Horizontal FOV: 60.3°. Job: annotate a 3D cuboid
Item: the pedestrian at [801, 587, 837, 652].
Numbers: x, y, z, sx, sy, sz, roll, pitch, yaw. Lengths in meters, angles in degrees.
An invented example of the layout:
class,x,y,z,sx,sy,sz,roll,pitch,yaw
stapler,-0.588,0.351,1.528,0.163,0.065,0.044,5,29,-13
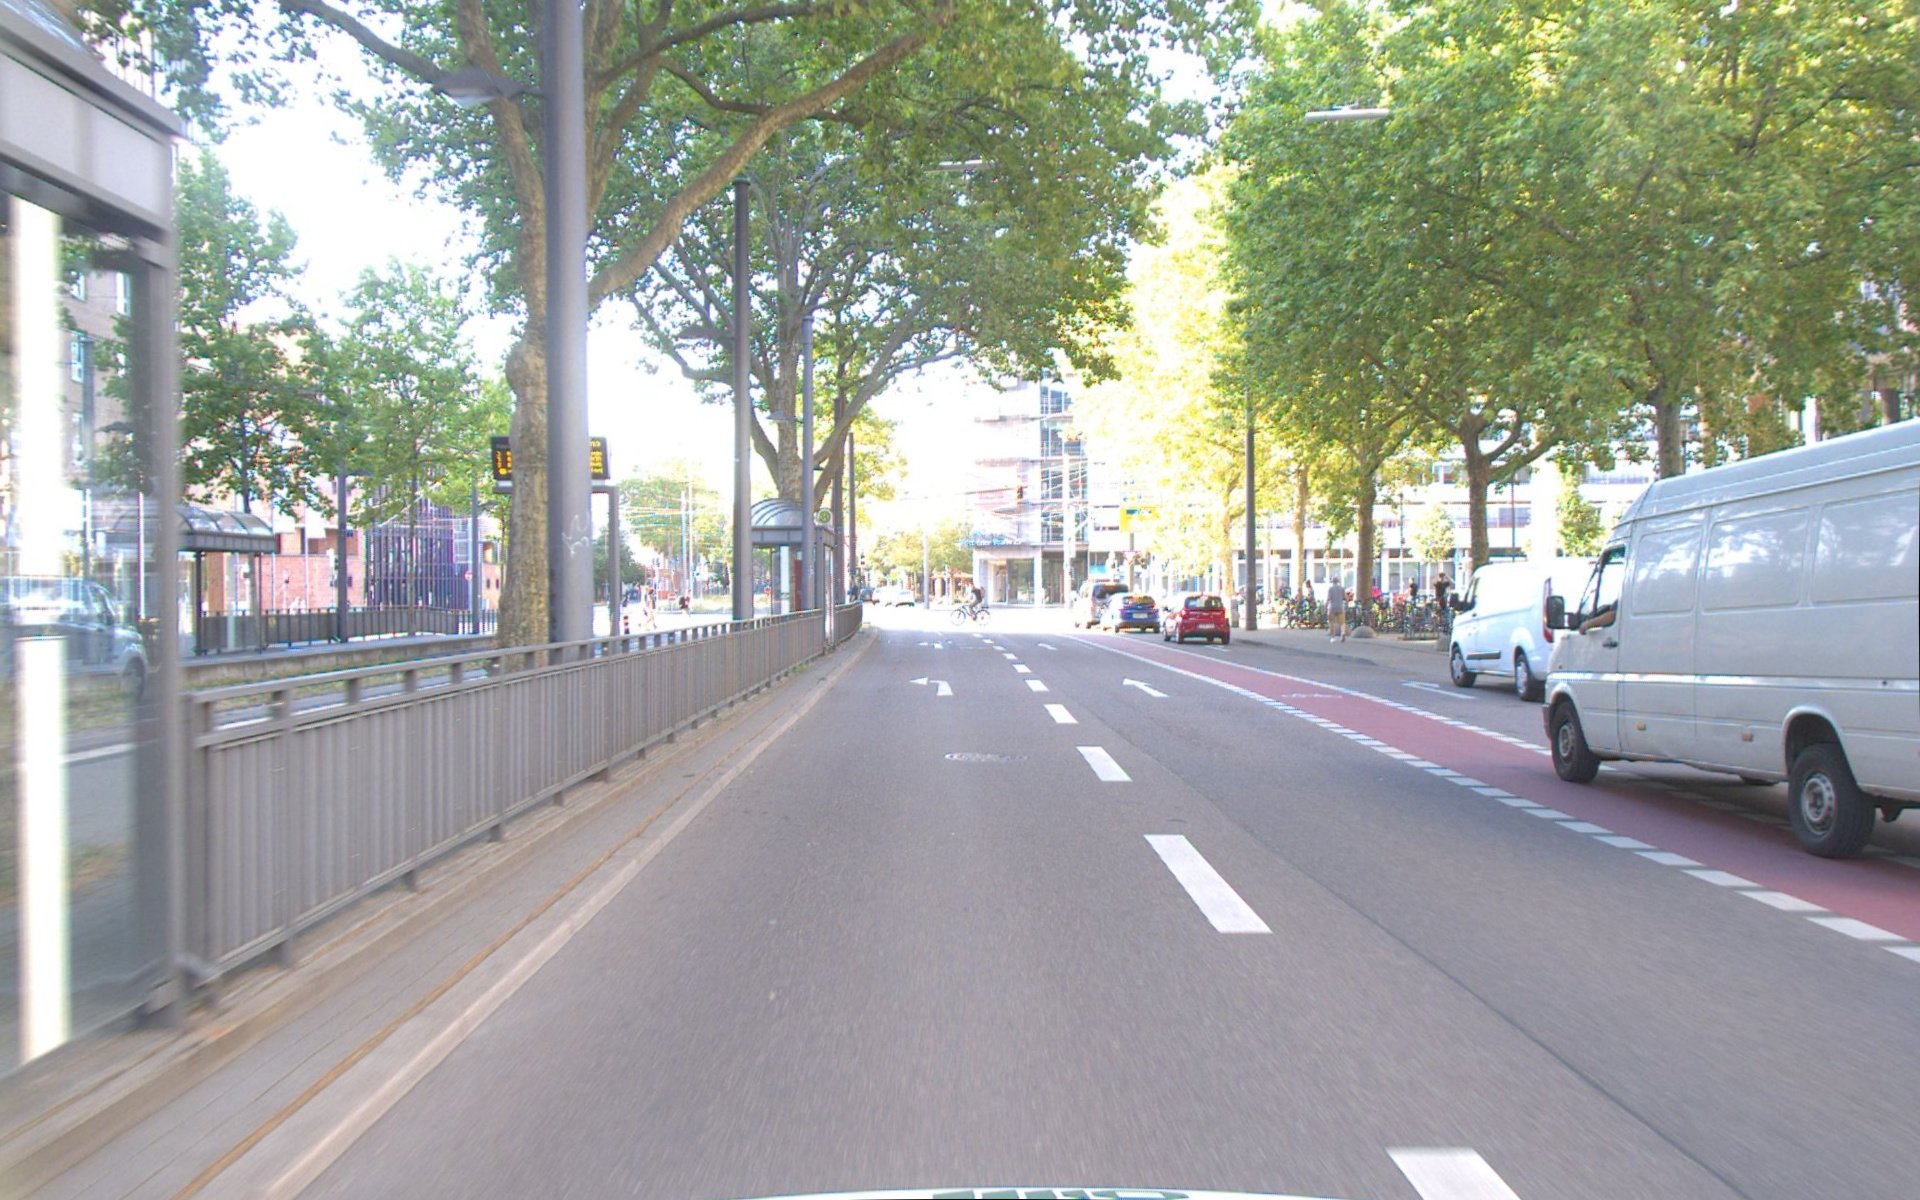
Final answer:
class,x,y,z,sx,sy,sz,roll,pitch,yaw
pedestrian,-3.137,0.431,36.919,0.719,1.412,0.640,1,-1,1

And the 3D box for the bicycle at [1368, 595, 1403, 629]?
class,x,y,z,sx,sy,sz,roll,pitch,yaw
bicycle,13.697,0.376,53.276,0.584,1.050,1.653,-1,0,-4

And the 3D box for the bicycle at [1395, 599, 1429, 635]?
class,x,y,z,sx,sy,sz,roll,pitch,yaw
bicycle,12.762,0.474,46.727,0.441,0.997,1.762,-1,0,-1

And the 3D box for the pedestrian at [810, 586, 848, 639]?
class,x,y,z,sx,sy,sz,roll,pitch,yaw
pedestrian,-3.567,0.341,45.215,0.956,1.424,0.664,1,-1,1

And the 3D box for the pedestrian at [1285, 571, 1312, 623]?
class,x,y,z,sx,sy,sz,roll,pitch,yaw
pedestrian,11.992,-0.108,58.555,0.789,1.817,0.657,-1,0,22

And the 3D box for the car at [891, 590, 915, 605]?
class,x,y,z,sx,sy,sz,roll,pitch,yaw
car,-5.169,-0.244,149.903,1.954,1.355,3.997,-1,0,-4

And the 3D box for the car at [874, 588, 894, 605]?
class,x,y,z,sx,sy,sz,roll,pitch,yaw
car,-7.945,-0.358,172.164,1.954,1.691,3.997,-1,0,-4

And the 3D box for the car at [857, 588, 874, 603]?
class,x,y,z,sx,sy,sz,roll,pitch,yaw
car,-11.056,-0.506,193.498,1.954,1.691,3.997,-1,0,-4

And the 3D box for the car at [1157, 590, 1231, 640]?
class,x,y,z,sx,sy,sz,roll,pitch,yaw
car,7.170,0.438,50.922,1.528,1.490,3.618,0,0,-4

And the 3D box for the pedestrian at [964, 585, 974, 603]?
class,x,y,z,sx,sy,sz,roll,pitch,yaw
pedestrian,0.772,-0.520,141.957,0.725,1.491,0.536,-1,0,-6

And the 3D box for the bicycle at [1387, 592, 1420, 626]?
class,x,y,z,sx,sy,sz,roll,pitch,yaw
bicycle,14.298,0.285,53.325,0.492,1.050,1.653,-1,0,-4

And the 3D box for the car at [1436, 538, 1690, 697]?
class,x,y,z,sx,sy,sz,roll,pitch,yaw
car,9.107,0.229,25.552,2.079,2.171,5.290,-1,0,1

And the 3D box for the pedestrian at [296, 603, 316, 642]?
class,x,y,z,sx,sy,sz,roll,pitch,yaw
pedestrian,-27.512,0.924,69.585,0.578,1.612,0.724,2,0,-5

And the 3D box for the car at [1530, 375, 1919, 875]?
class,x,y,z,sx,sy,sz,roll,pitch,yaw
car,6.238,0.137,11.760,1.953,2.772,6.560,1,0,-1

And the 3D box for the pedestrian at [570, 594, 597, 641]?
class,x,y,z,sx,sy,sz,roll,pitch,yaw
pedestrian,-15.667,0.728,68.875,1.054,1.904,0.737,0,-1,-11

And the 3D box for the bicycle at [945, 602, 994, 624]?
class,x,y,z,sx,sy,sz,roll,pitch,yaw
bicycle,0.420,0.574,73.280,2.135,0.950,0.667,-1,0,-6

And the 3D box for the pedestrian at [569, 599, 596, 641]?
class,x,y,z,sx,sy,sz,roll,pitch,yaw
pedestrian,-15.539,0.823,68.136,1.053,1.711,0.756,0,0,-11

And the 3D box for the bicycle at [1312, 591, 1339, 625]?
class,x,y,z,sx,sy,sz,roll,pitch,yaw
bicycle,12.813,0.278,57.982,0.583,1.135,1.825,-1,0,23

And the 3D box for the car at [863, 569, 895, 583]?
class,x,y,z,sx,sy,sz,roll,pitch,yaw
car,-10.152,-3.013,208.441,3.681,1.780,1.783,1,0,10

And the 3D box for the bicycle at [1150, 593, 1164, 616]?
class,x,y,z,sx,sy,sz,roll,pitch,yaw
bicycle,10.093,0.239,84.589,0.554,1.146,1.779,-1,0,2

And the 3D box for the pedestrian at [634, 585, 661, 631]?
class,x,y,z,sx,sy,sz,roll,pitch,yaw
pedestrian,-13.126,0.348,69.475,1.125,1.927,0.831,0,0,-11

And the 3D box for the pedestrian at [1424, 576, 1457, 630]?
class,x,y,z,sx,sy,sz,roll,pitch,yaw
pedestrian,16.082,0.093,55.422,0.802,1.788,0.769,-1,0,-8

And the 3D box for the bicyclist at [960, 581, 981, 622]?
class,x,y,z,sx,sy,sz,roll,pitch,yaw
bicyclist,0.445,0.061,73.284,0.833,1.816,0.752,-1,0,-5

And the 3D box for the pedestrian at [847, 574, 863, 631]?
class,x,y,z,sx,sy,sz,roll,pitch,yaw
pedestrian,-3.572,0.088,56.160,0.499,1.933,0.759,1,-1,-3

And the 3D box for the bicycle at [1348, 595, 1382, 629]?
class,x,y,z,sx,sy,sz,roll,pitch,yaw
bicycle,13.018,0.368,53.201,0.584,1.050,1.653,-1,0,-4

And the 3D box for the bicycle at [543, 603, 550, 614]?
class,x,y,z,sx,sy,sz,roll,pitch,yaw
bicycle,-32.615,0.670,130.436,0.503,0.897,1.834,-1,0,-12

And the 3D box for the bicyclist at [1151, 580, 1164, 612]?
class,x,y,z,sx,sy,sz,roll,pitch,yaw
bicyclist,10.083,-0.214,84.529,0.550,1.644,0.822,-1,0,2

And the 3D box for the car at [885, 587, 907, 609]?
class,x,y,z,sx,sy,sz,roll,pitch,yaw
car,-6.078,-0.237,156.738,1.954,2.026,3.997,-1,0,-4

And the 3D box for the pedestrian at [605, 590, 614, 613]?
class,x,y,z,sx,sy,sz,roll,pitch,yaw
pedestrian,-26.364,0.096,124.539,0.529,1.679,0.621,-1,0,-23

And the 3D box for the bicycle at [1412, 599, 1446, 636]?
class,x,y,z,sx,sy,sz,roll,pitch,yaw
bicycle,13.263,0.483,46.813,0.441,0.997,1.762,-1,0,-1

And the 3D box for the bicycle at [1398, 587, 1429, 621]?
class,x,y,z,sx,sy,sz,roll,pitch,yaw
bicycle,16.005,0.129,58.448,0.413,1.180,1.472,-1,0,-12

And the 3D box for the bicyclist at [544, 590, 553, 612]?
class,x,y,z,sx,sy,sz,roll,pitch,yaw
bicyclist,-32.475,0.100,130.556,0.582,1.705,0.788,-1,0,-10

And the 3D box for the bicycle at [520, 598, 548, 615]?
class,x,y,z,sx,sy,sz,roll,pitch,yaw
bicycle,-31.908,0.478,123.863,2.077,1.261,0.447,-2,0,-40

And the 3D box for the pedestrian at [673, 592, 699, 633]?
class,x,y,z,sx,sy,sz,roll,pitch,yaw
pedestrian,-11.835,0.549,71.477,1.053,1.745,0.627,0,-1,-8

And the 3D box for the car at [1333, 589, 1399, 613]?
class,x,y,z,sx,sy,sz,roll,pitch,yaw
car,28.321,0.036,115.504,4.153,1.587,1.796,-1,0,2

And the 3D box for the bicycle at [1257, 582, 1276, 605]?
class,x,y,z,sx,sy,sz,roll,pitch,yaw
bicycle,13.897,-0.290,74.983,0.441,1.000,1.475,-1,0,-5

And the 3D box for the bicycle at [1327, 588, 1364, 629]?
class,x,y,z,sx,sy,sz,roll,pitch,yaw
bicycle,12.360,0.252,53.071,0.584,1.286,1.875,-1,0,-4

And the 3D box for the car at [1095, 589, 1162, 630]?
class,x,y,z,sx,sy,sz,roll,pitch,yaw
car,6.372,0.330,62.894,1.730,1.489,4.213,-1,0,-5

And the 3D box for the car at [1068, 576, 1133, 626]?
class,x,y,z,sx,sy,sz,roll,pitch,yaw
car,5.867,0.019,69.483,1.954,2.000,5.133,1,0,-4

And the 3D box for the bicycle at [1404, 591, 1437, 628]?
class,x,y,z,sx,sy,sz,roll,pitch,yaw
bicycle,14.844,0.294,53.364,0.492,1.157,1.653,-1,0,-4

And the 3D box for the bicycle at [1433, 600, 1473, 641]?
class,x,y,z,sx,sy,sz,roll,pitch,yaw
bicycle,12.472,0.507,41.859,0.441,0.997,1.762,-1,0,-1

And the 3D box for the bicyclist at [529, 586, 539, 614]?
class,x,y,z,sx,sy,sz,roll,pitch,yaw
bicyclist,-31.884,-0.002,123.863,0.557,2.096,0.445,-1,0,-39

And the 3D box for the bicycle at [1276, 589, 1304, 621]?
class,x,y,z,sx,sy,sz,roll,pitch,yaw
bicycle,11.767,0.172,58.974,0.583,1.135,1.825,-1,0,23

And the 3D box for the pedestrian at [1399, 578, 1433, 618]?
class,x,y,z,sx,sy,sz,roll,pitch,yaw
pedestrian,21.447,-0.108,77.804,1.186,1.854,1.039,1,-1,-10

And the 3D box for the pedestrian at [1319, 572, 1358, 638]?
class,x,y,z,sx,sy,sz,roll,pitch,yaw
pedestrian,10.547,0.130,46.124,0.854,1.817,0.808,-1,0,-3

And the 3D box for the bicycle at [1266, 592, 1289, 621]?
class,x,y,z,sx,sy,sz,roll,pitch,yaw
bicycle,12.055,0.249,62.785,0.614,1.075,1.572,-1,0,2

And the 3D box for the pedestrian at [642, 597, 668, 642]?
class,x,y,z,sx,sy,sz,roll,pitch,yaw
pedestrian,-12.663,0.811,68.694,1.052,1.837,0.756,0,0,-11

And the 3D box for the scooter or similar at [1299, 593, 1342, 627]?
class,x,y,z,sx,sy,sz,roll,pitch,yaw
scooter or similar,13.042,0.385,59.900,1.233,1.162,0.912,3,-2,-18

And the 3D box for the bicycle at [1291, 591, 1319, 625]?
class,x,y,z,sx,sy,sz,roll,pitch,yaw
bicycle,12.138,0.271,58.215,0.583,1.135,1.949,-1,0,23
